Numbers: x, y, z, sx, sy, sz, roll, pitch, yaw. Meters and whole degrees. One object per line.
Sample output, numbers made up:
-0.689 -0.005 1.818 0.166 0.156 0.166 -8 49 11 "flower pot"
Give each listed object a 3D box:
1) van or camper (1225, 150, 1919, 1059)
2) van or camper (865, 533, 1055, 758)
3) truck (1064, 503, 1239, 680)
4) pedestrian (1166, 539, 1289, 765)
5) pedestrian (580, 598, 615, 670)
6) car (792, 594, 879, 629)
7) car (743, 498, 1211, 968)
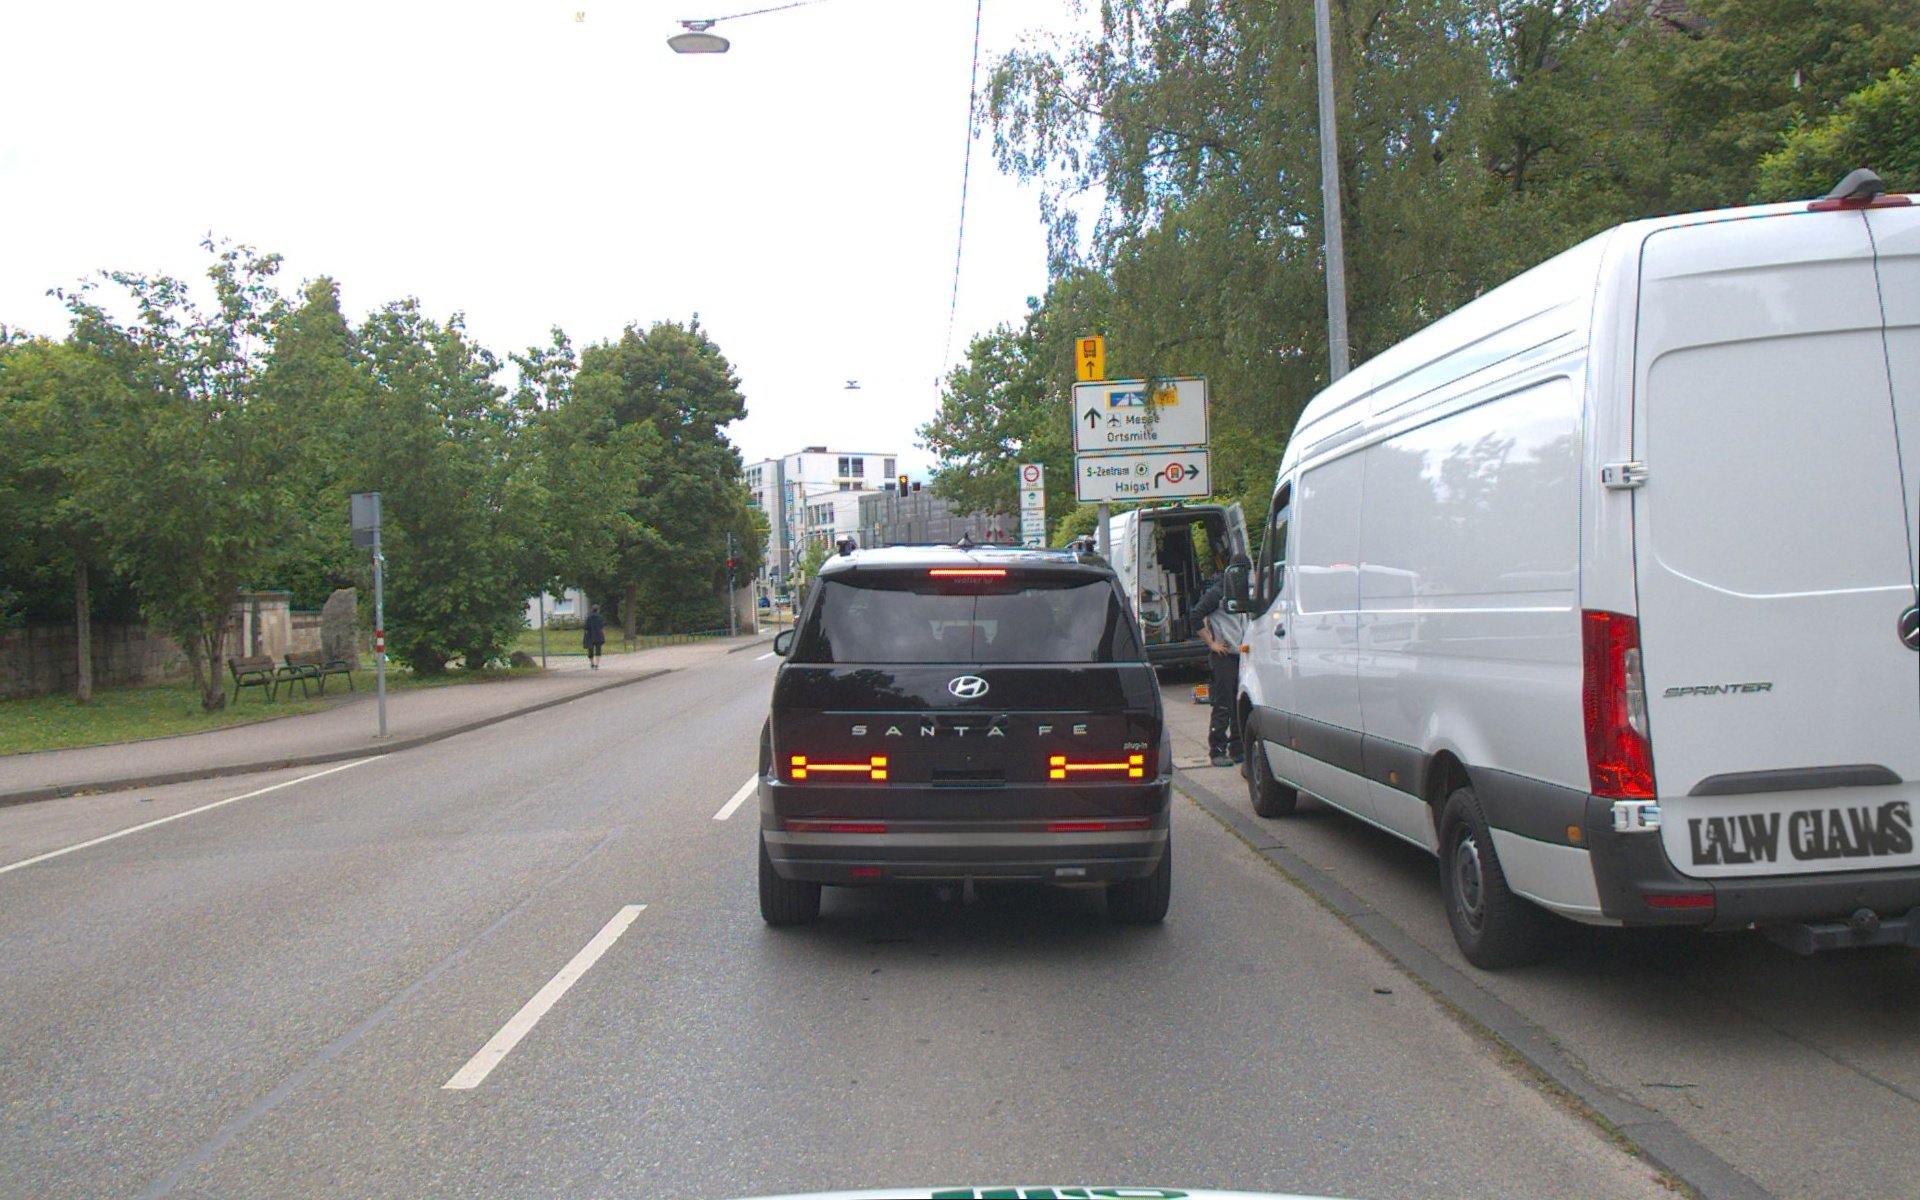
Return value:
2.893 -0.017 8.184 1.953 2.665 6.540 -2 0 -1 "van or camper"
-0.029 0.420 17.488 1.719 2.049 3.999 -2 0 -1 "van or camper"
3.114 -0.116 28.057 1.904 2.606 5.212 -3 0 -4 "truck"
2.248 0.427 13.971 0.852 1.828 0.759 -2 0 -2 "pedestrian"
-8.990 0.828 41.045 0.724 1.745 0.791 -2 0 -8 "pedestrian"
-6.757 0.626 89.613 4.616 1.778 1.997 1 0 -8 "car"
0.041 0.515 8.545 1.851 1.851 3.999 0 0 -1 "car"
